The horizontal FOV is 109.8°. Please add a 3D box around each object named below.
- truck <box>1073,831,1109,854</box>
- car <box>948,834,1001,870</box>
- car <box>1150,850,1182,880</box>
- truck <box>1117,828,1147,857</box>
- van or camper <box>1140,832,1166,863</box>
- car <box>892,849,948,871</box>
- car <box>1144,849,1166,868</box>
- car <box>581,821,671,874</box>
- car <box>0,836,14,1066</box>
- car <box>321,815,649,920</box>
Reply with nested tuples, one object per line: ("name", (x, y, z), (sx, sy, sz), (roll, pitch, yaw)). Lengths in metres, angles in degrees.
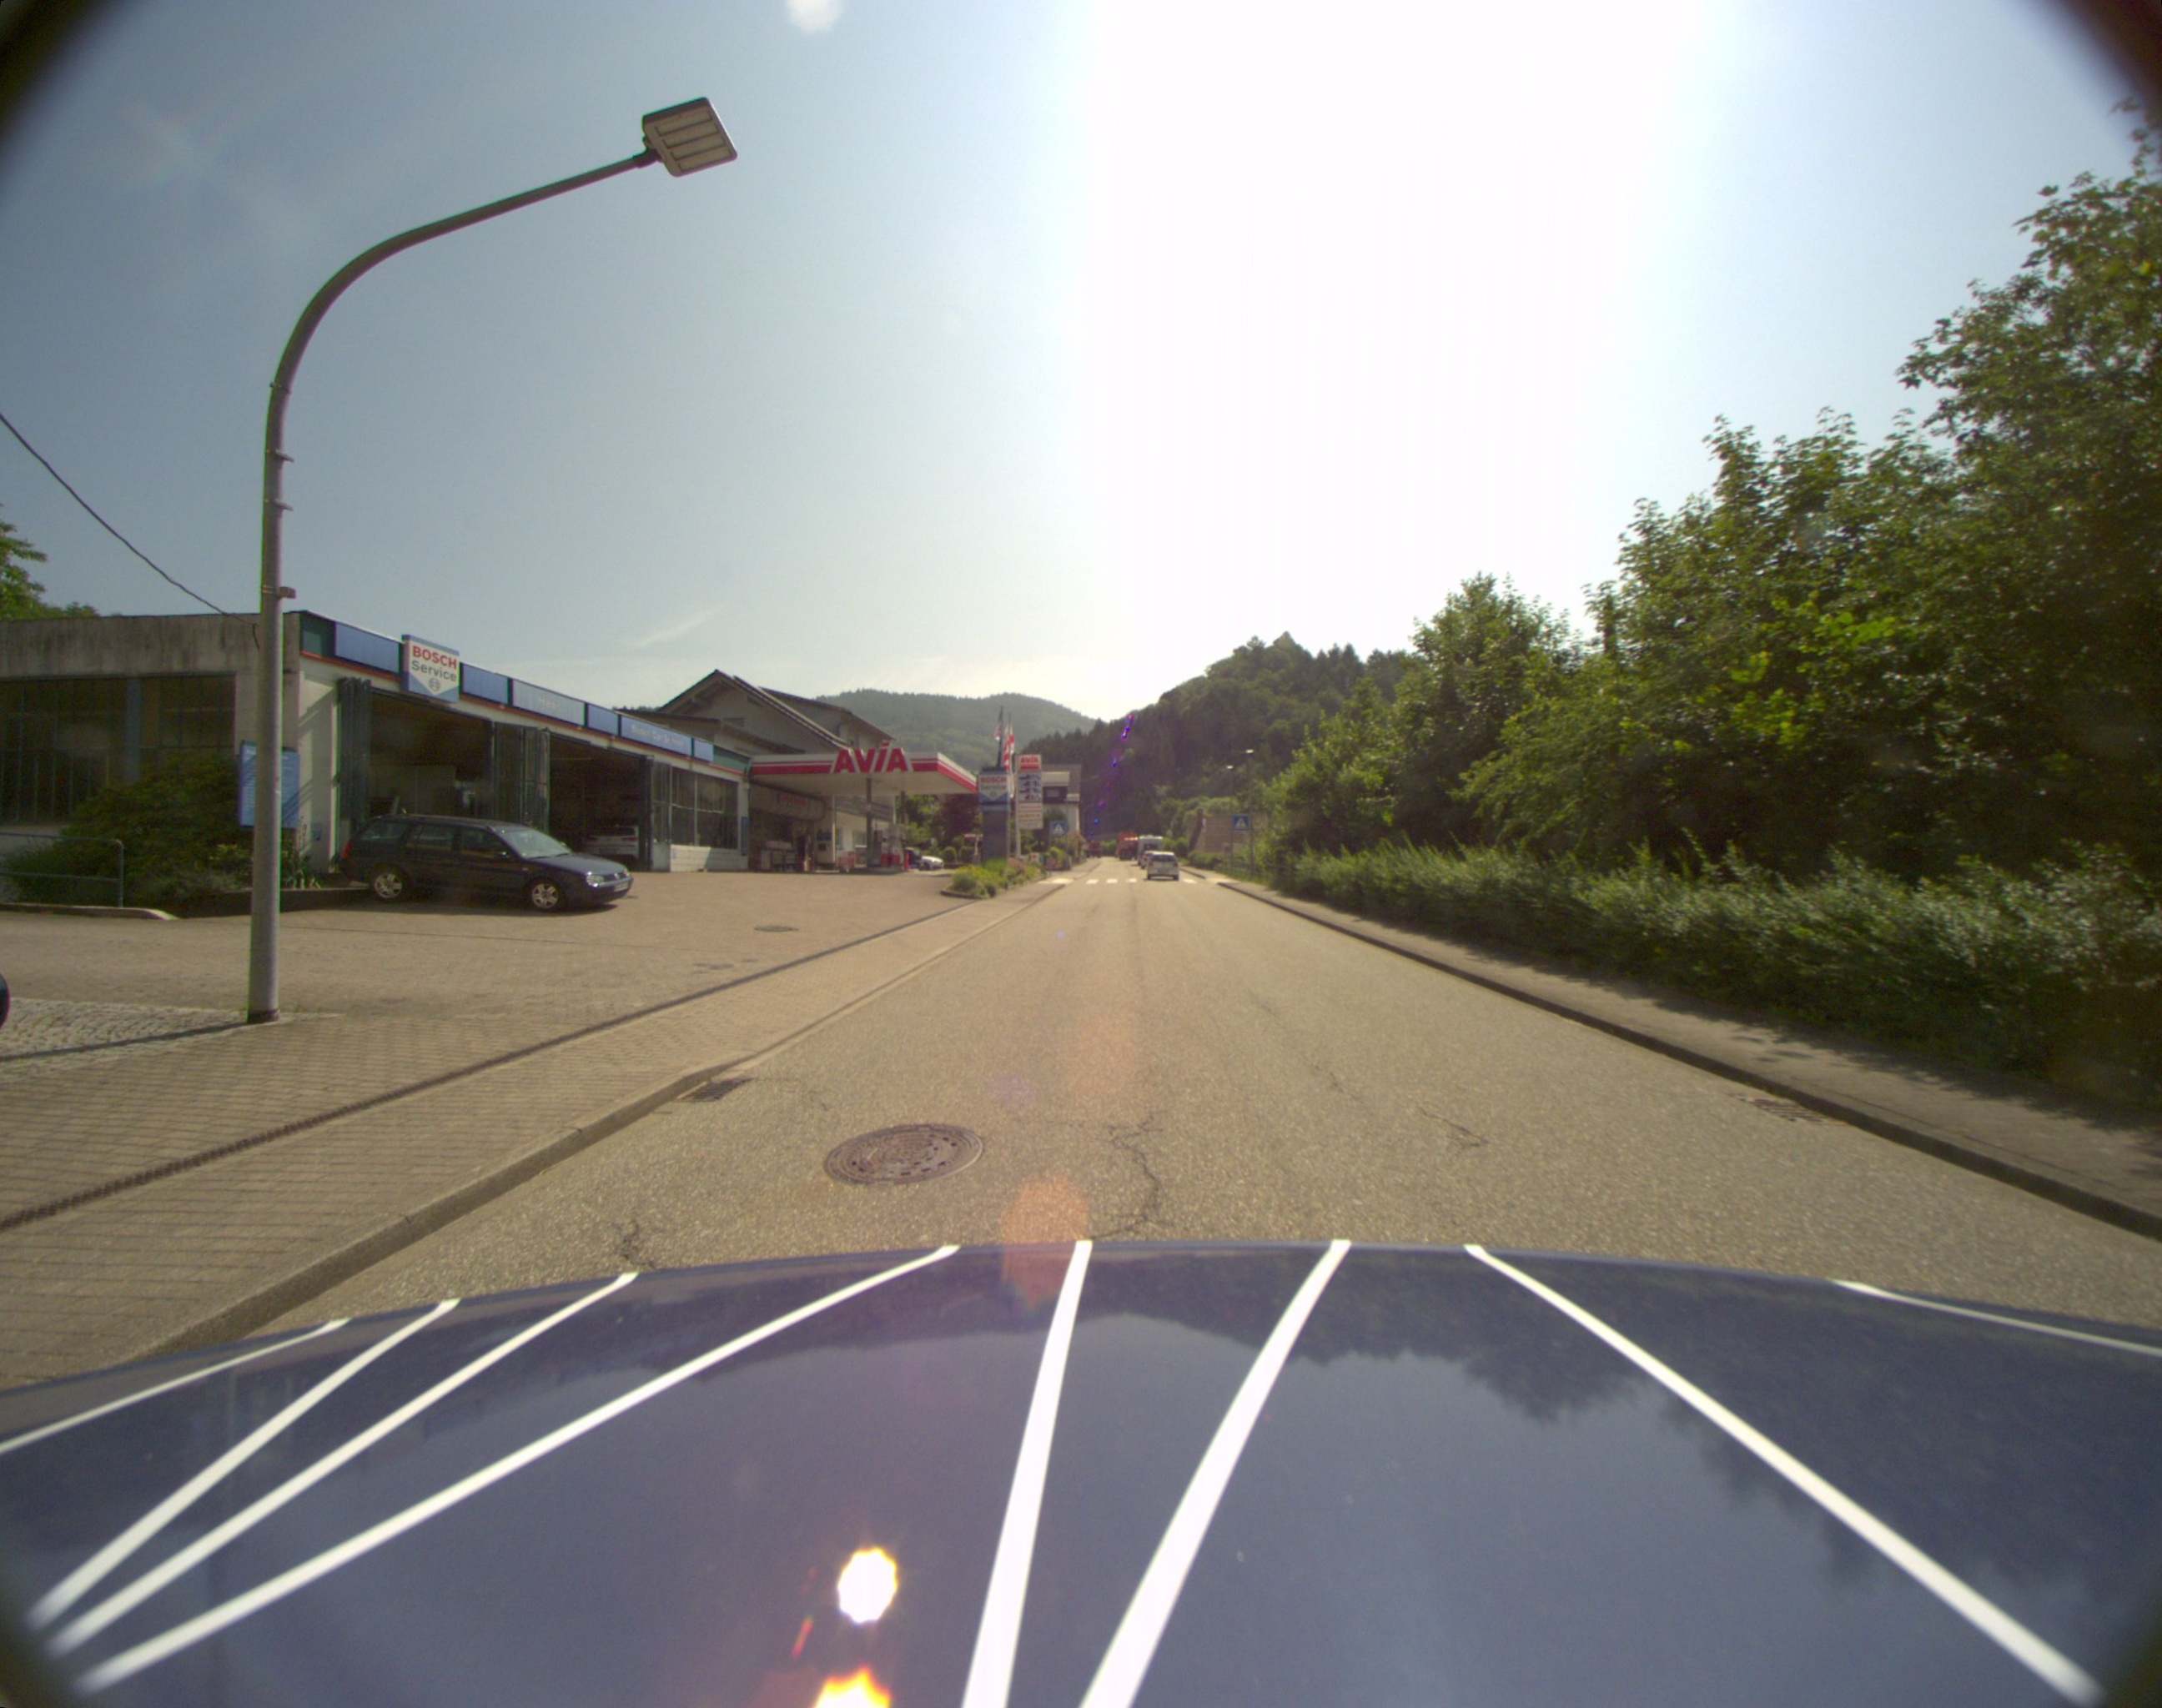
("truck", (1.506, -1.990, 124.734), (2.656, 3.562, 7.754), (1, 2, -26))
("car", (-5.198, -0.120, 37.488), (1.695, 1.568, 3.912), (3, 1, 5))
("car", (4.466, 0.564, 40.393), (1.593, 1.474, 3.758), (1, 1, 5))
("truck", (6.724, -1.575, 100.947), (2.652, 3.561, 8.187), (1, 1, -5))
("van or camper", (7.092, -0.623, 75.781), (2.363, 2.936, 8.053), (1, 0, 4))
("car", (-10.008, 0.353, 47.334), (3.080, 1.138, 1.335), (3, 2, 2))
("car", (6.012, 0.346, 62.220), (1.608, 1.398, 3.827), (2, 1, 3))
("car", (-16.063, -0.291, 27.027), (1.607, 1.678, 3.924), (3, 2, -14))
("car", (-8.429, 0.551, 4.315), (2.660, 1.527, 1.425), (5, 2, -1))
("car", (-10.562, 0.216, 13.760), (4.331, 1.536, 1.798), (3, 2, -6))
